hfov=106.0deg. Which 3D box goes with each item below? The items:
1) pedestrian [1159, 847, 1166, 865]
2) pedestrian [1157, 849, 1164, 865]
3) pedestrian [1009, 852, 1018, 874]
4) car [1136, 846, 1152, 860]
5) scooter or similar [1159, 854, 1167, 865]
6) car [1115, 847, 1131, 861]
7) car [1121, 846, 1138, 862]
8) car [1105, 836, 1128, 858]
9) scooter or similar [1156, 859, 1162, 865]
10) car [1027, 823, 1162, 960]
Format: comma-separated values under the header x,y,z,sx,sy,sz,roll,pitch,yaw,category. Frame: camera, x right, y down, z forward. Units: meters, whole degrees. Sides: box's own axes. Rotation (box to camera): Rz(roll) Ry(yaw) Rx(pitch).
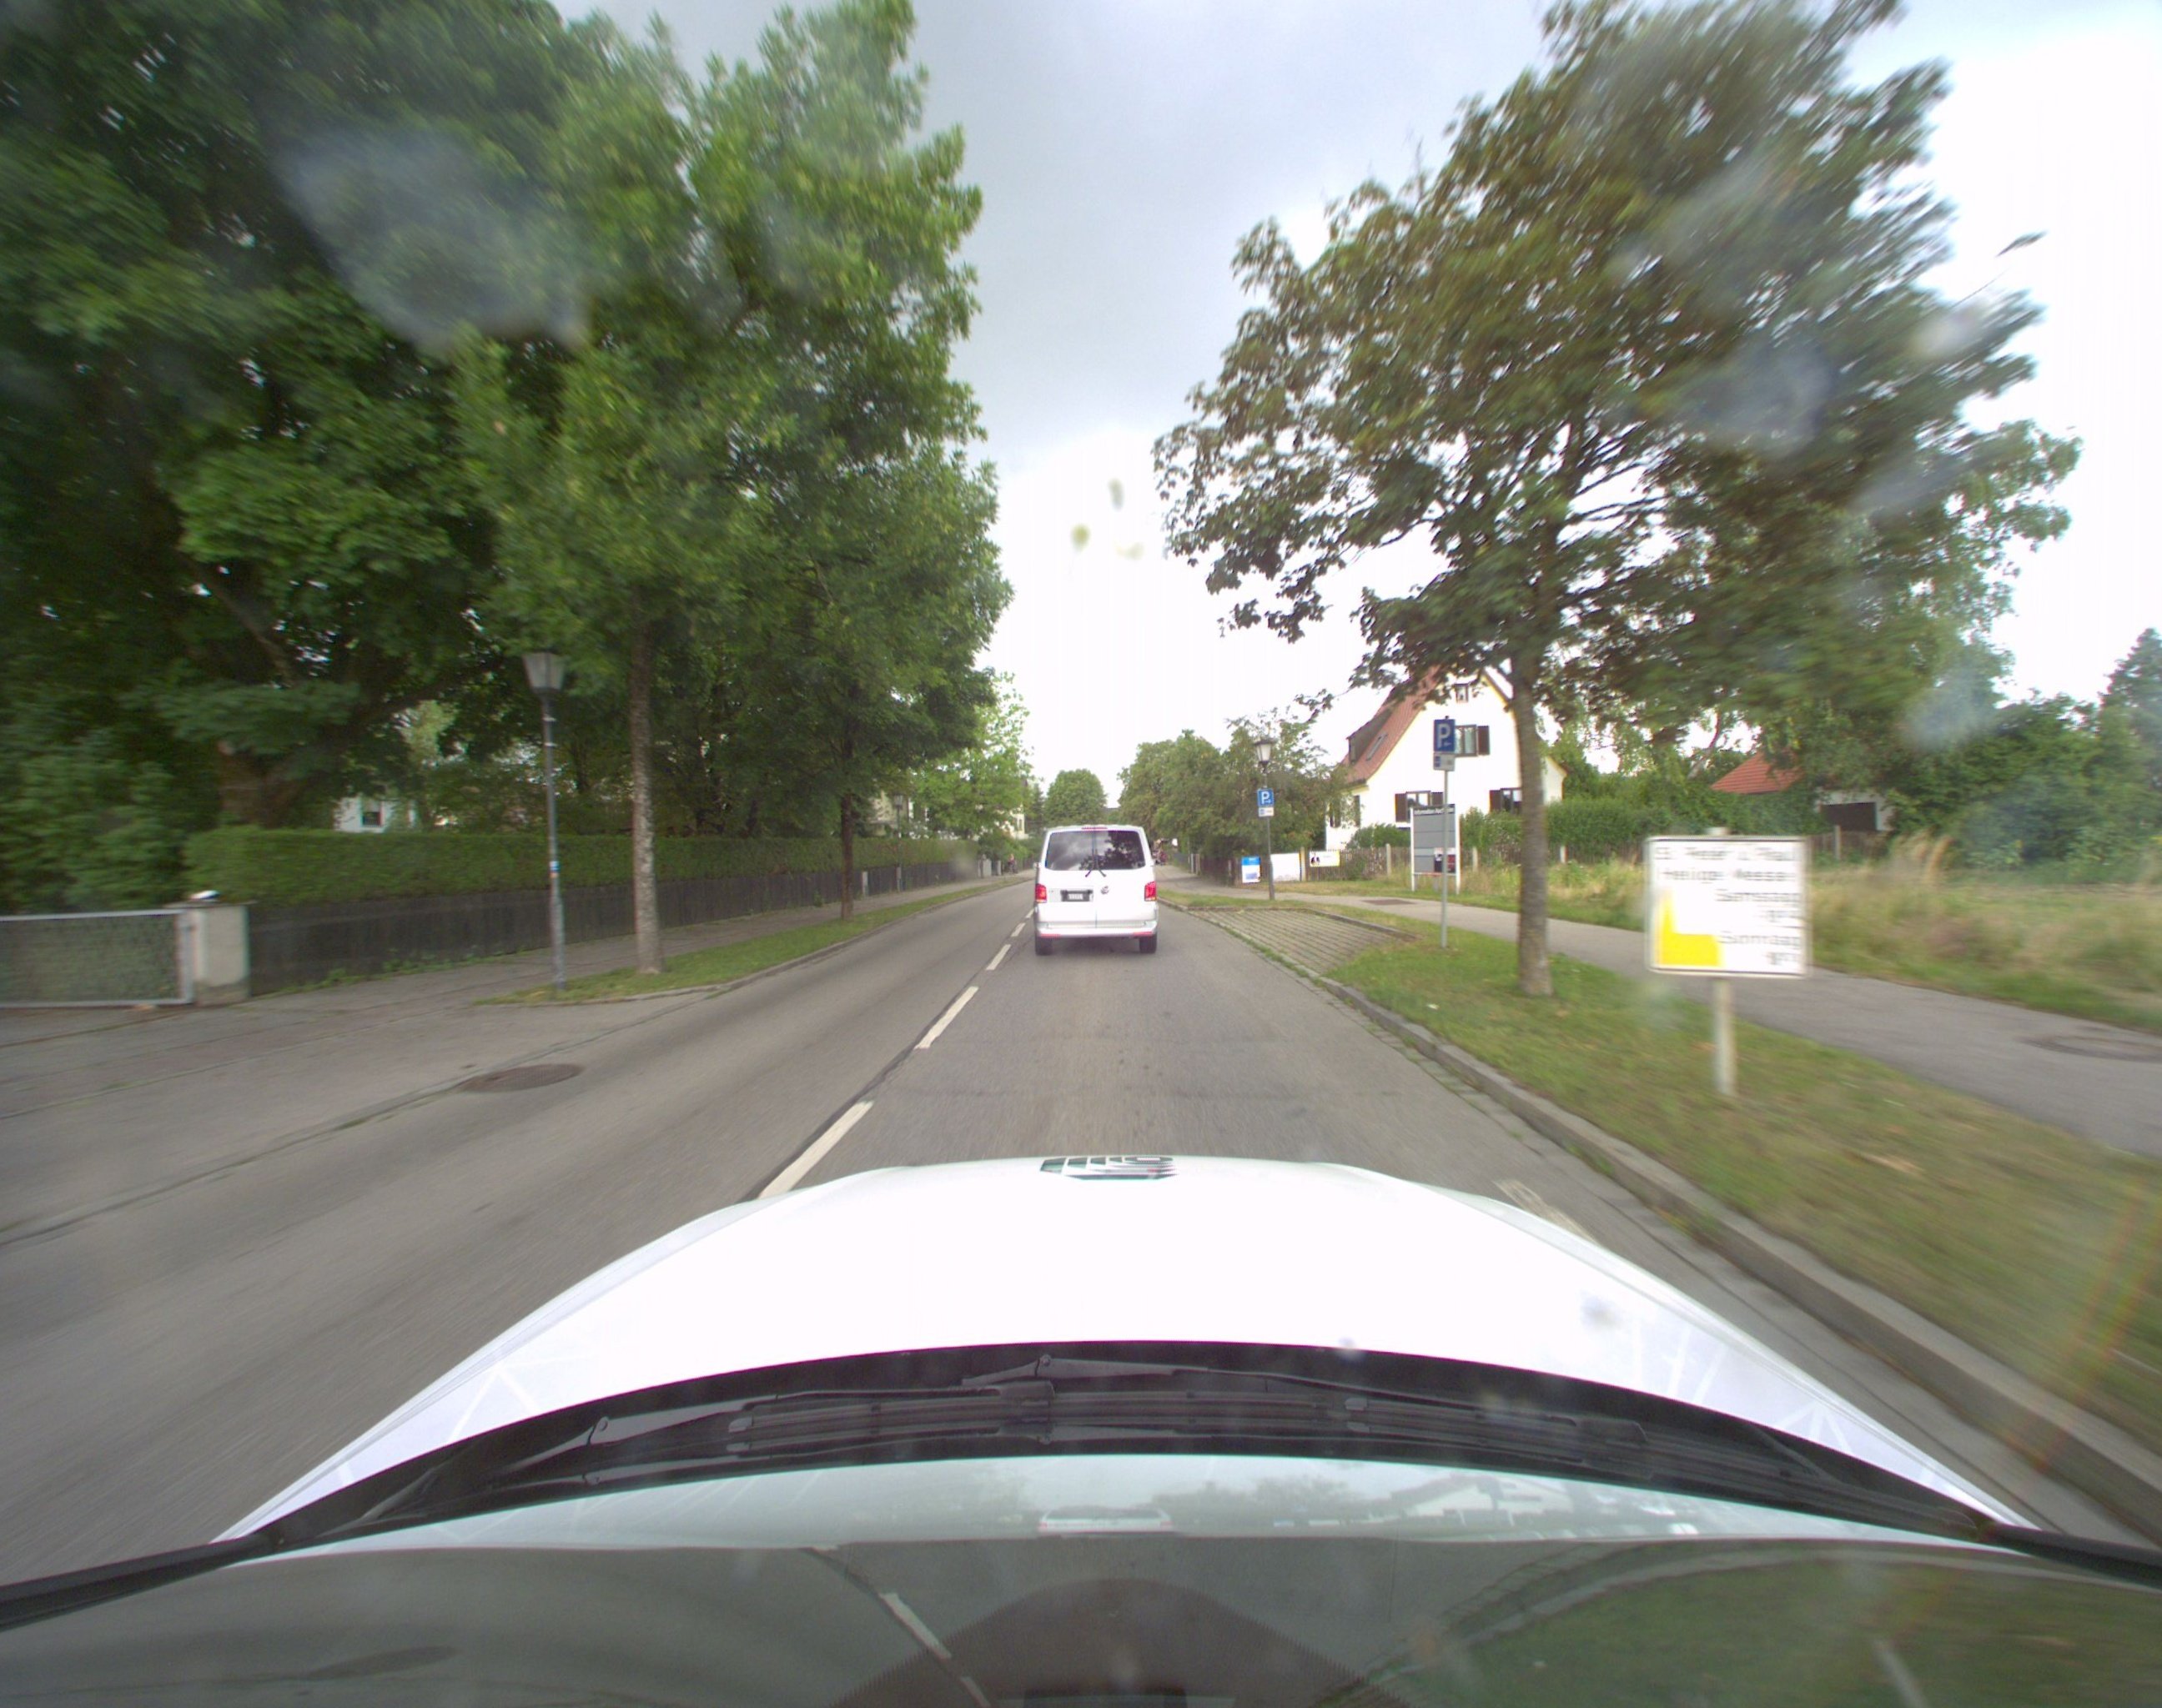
x,y,z,sx,sy,sz,roll,pitch,yaw,category
7.088,0.205,71.056,0.550,1.549,0.612,0,0,-1,pedestrian
7.604,0.281,77.511,0.620,1.523,0.579,0,0,-1,pedestrian
-4.920,0.663,59.354,0.620,1.549,0.522,0,0,-1,pedestrian
9.800,-0.212,126.553,1.981,2.013,4.011,-2,0,10,car
7.082,0.486,70.321,0.550,0.971,0.620,0,0,-1,scooter or similar
6.621,-0.045,128.008,1.982,2.013,4.009,-2,0,8,car
6.762,0.003,113.349,1.983,2.013,4.007,-2,0,6,car
3.412,-0.636,77.544,1.984,2.013,4.005,0,0,4,car
7.503,0.773,78.189,0.473,0.545,0.458,0,0,-1,scooter or similar
0.287,0.533,13.535,1.880,1.912,4.003,-1,0,3,car
